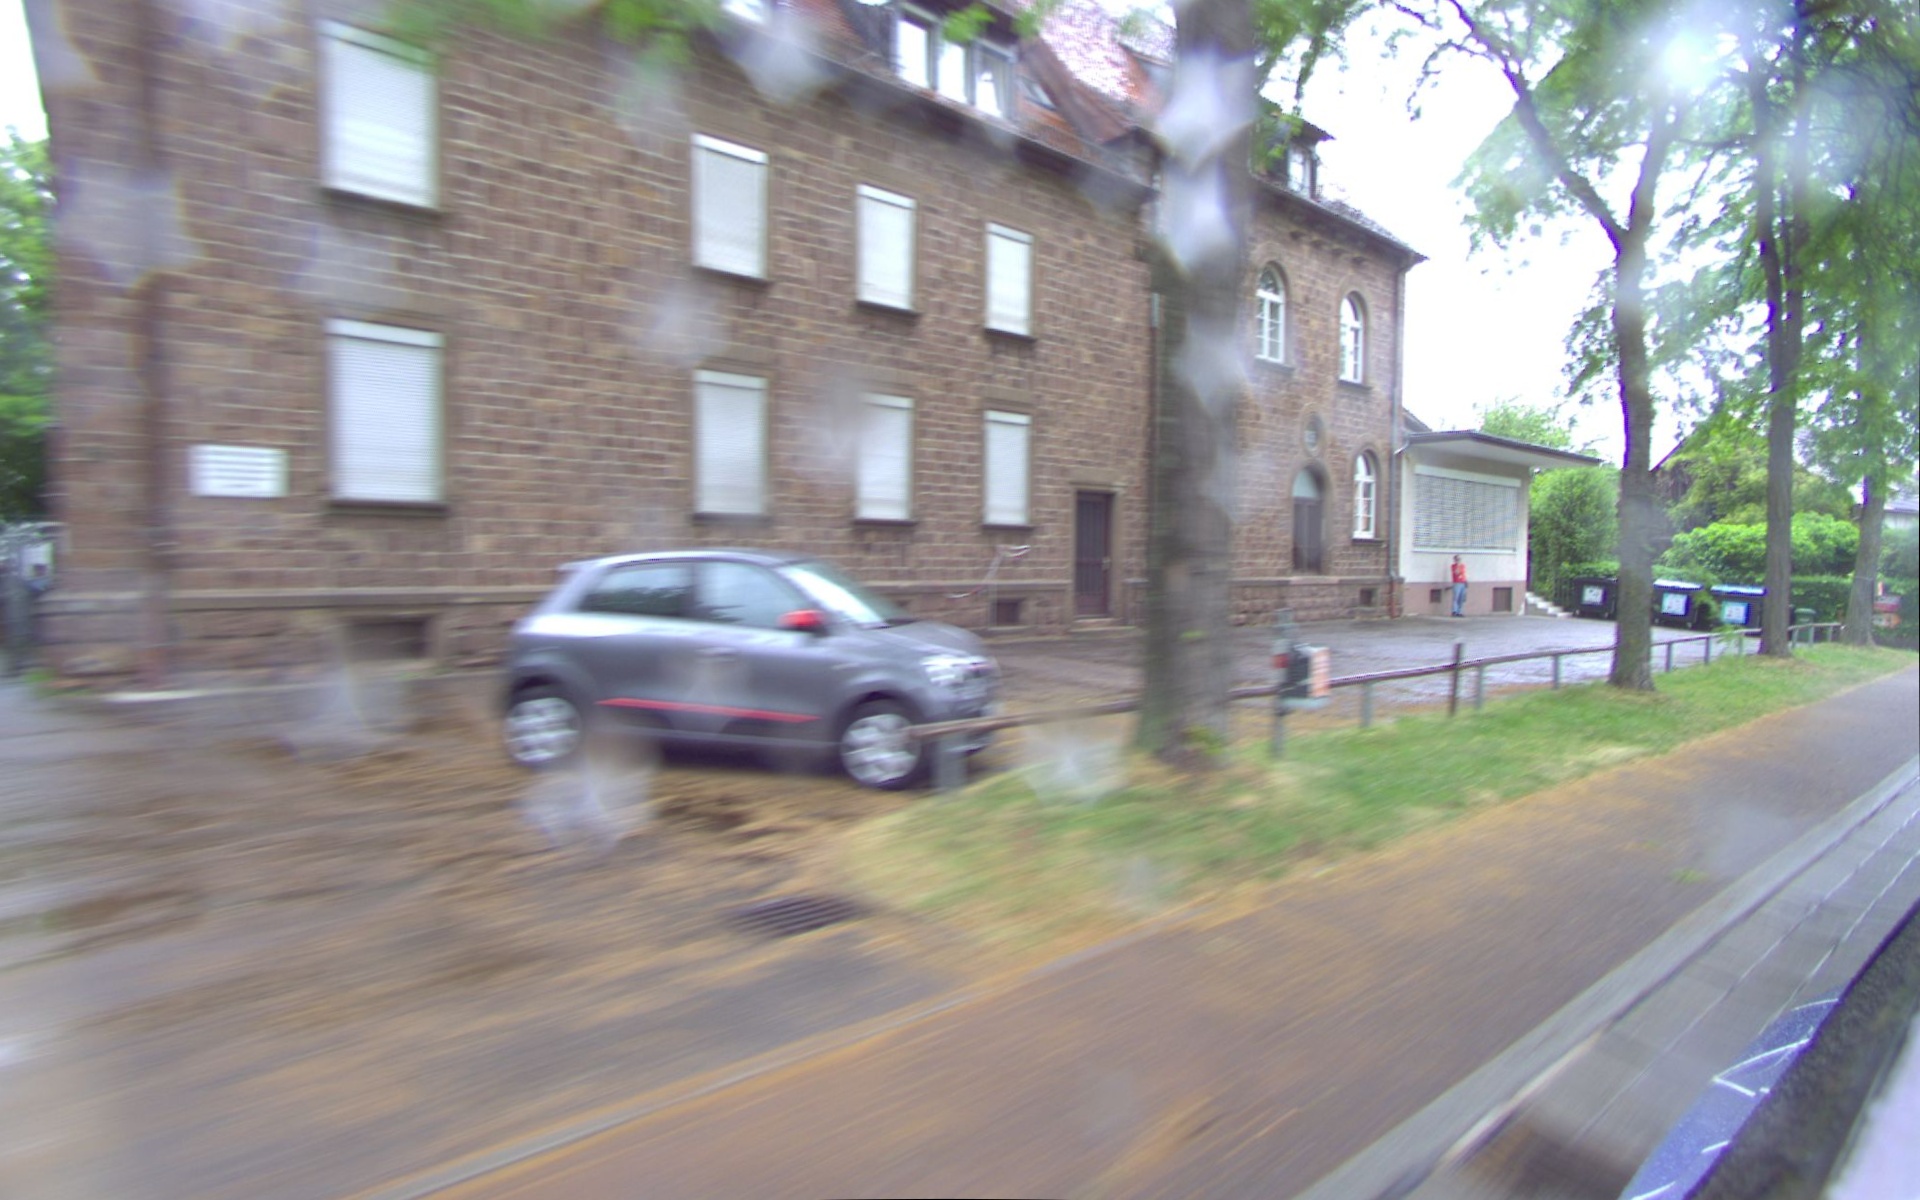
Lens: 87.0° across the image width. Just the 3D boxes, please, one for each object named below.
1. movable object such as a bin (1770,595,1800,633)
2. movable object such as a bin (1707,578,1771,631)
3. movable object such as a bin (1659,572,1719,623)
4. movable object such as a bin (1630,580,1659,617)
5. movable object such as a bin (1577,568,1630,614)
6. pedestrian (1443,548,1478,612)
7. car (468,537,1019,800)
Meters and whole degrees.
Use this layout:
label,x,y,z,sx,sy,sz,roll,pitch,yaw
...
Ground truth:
label,x,y,z,sx,sy,sz,roll,pitch,yaw
movable object such as a bin,23.929,0.406,29.370,0.455,1.035,0.538,0,5,-42
movable object such as a bin,23.150,0.111,30.091,0.782,1.435,1.296,0,6,-42
movable object such as a bin,22.441,-0.089,31.152,0.782,1.452,1.238,0,6,-42
movable object such as a bin,21.663,-0.055,32.036,0.521,1.092,0.568,0,5,-42
movable object such as a bin,20.839,-0.296,32.791,0.782,1.358,1.151,0,6,-41
pedestrian,14.214,-0.558,28.725,0.851,1.776,0.535,1,2,-41
car,-1.446,0.367,7.298,3.556,1.570,1.617,1,2,11
